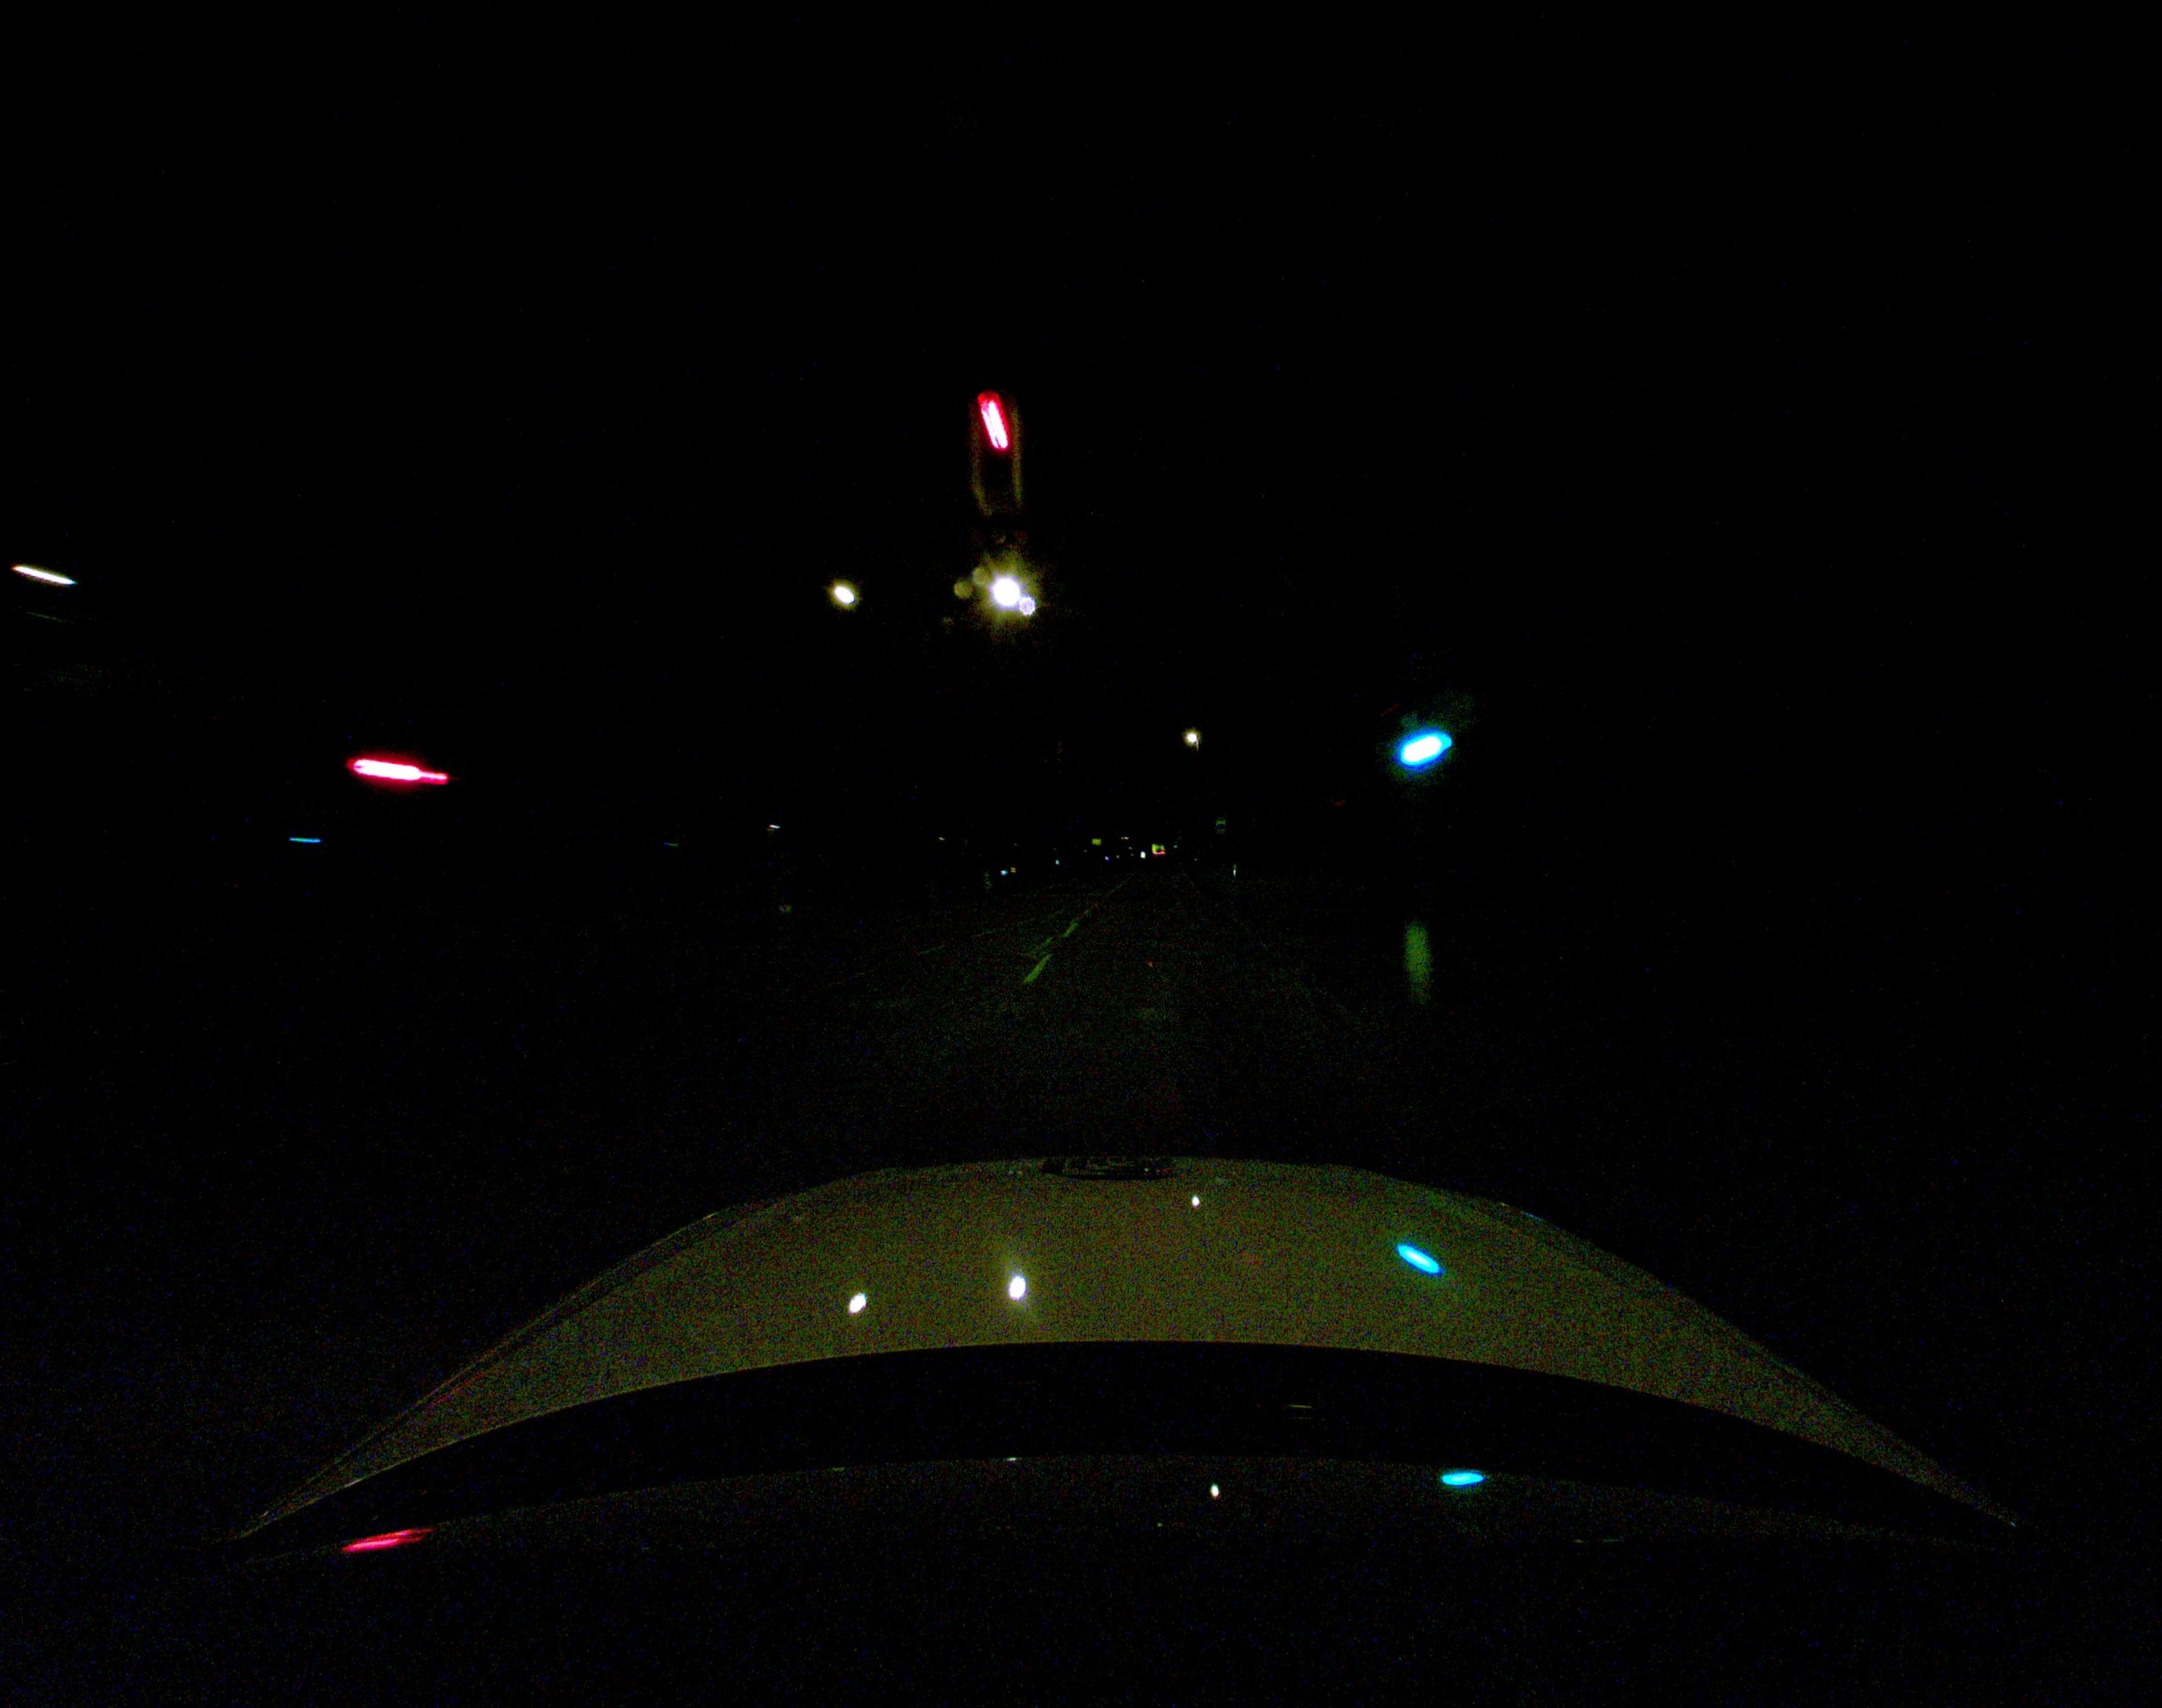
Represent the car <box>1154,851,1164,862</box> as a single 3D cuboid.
[{"bbox_3d":[14.720,0.452,153.913,1.984,2.014,4.005,-1,-3,5],"label":"car"}]
